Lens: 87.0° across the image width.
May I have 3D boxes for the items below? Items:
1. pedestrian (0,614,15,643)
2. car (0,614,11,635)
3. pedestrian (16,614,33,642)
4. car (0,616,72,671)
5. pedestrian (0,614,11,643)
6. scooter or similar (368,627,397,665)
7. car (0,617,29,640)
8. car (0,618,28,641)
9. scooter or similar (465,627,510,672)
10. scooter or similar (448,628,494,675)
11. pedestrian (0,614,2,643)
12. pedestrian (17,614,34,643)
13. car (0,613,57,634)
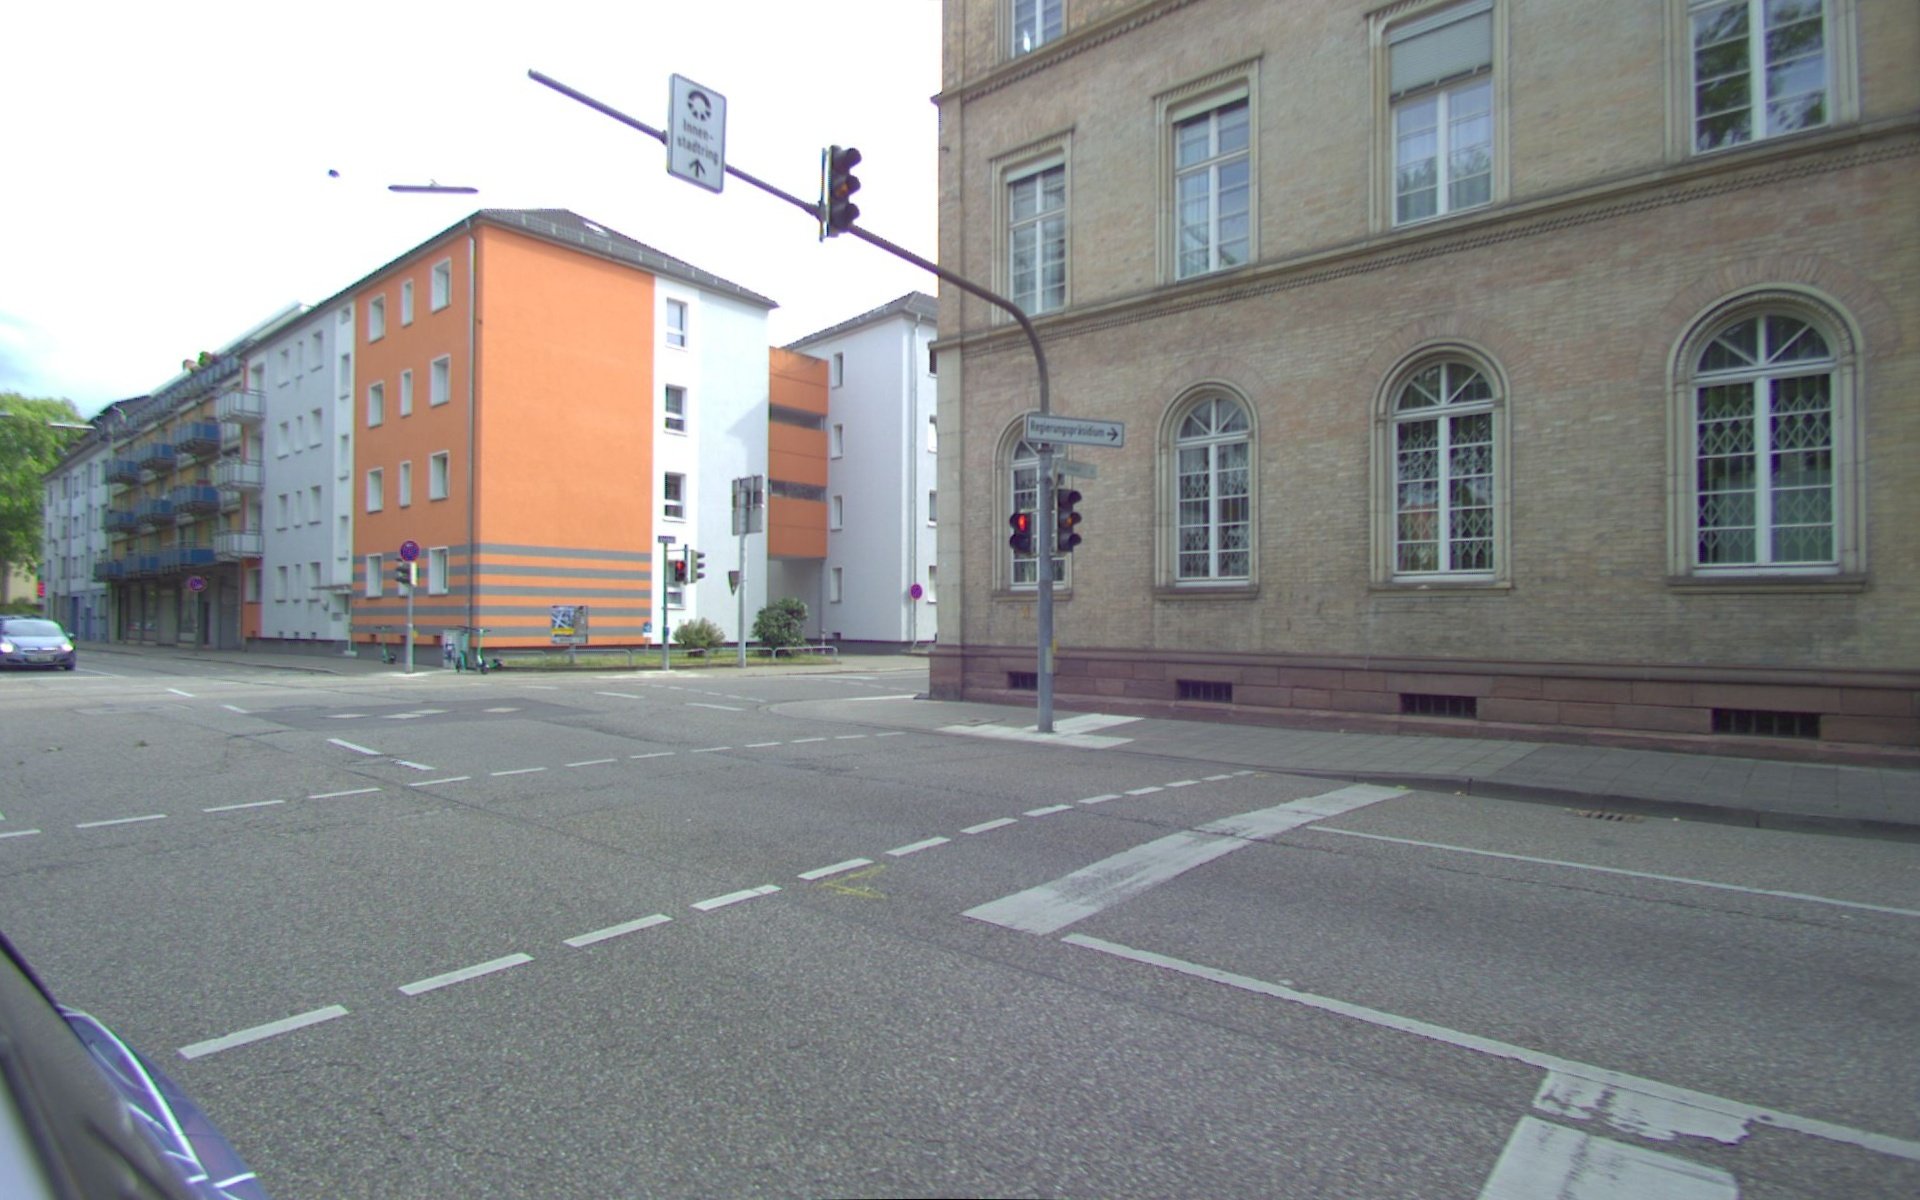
[{"bbox_3d":[-68.117,2.042,72.323,0.831,2.029,0.875,-1,-1,-45],"label":"pedestrian"},{"bbox_3d":[-94.519,2.376,97.727,1.999,2.029,3.946,-2,0,40],"label":"car"},{"bbox_3d":[-67.862,2.040,73.400,0.831,2.029,0.875,-1,-1,-45],"label":"pedestrian"},{"bbox_3d":[-26.342,1.186,28.381,3.818,1.450,1.651,-1,-2,41],"label":"car"},{"bbox_3d":[-66.863,2.009,70.683,0.831,2.029,0.875,-1,-1,-45],"label":"pedestrian"},{"bbox_3d":[-17.728,1.397,31.047,1.353,1.133,0.364,-2,0,42],"label":"scooter or similar"},{"bbox_3d":[-87.326,2.629,91.879,1.999,2.029,3.946,-2,0,40],"label":"car"},{"bbox_3d":[-85.522,2.627,89.789,1.999,2.029,3.946,-2,0,40],"label":"car"},{"bbox_3d":[-12.529,1.303,26.801,1.348,1.166,0.327,-1,0,28],"label":"scooter or similar"},{"bbox_3d":[-12.638,1.315,26.143,1.337,1.188,0.327,-1,0,28],"label":"scooter or similar"},{"bbox_3d":[-67.661,2.027,70.878,0.831,2.029,0.875,-1,-1,-45],"label":"pedestrian"},{"bbox_3d":[-66.234,1.998,71.748,0.831,2.029,0.875,-1,-1,-45],"label":"pedestrian"},{"bbox_3d":[-80.892,2.067,87.633,1.881,1.701,3.821,-1,0,40],"label":"car"}]
